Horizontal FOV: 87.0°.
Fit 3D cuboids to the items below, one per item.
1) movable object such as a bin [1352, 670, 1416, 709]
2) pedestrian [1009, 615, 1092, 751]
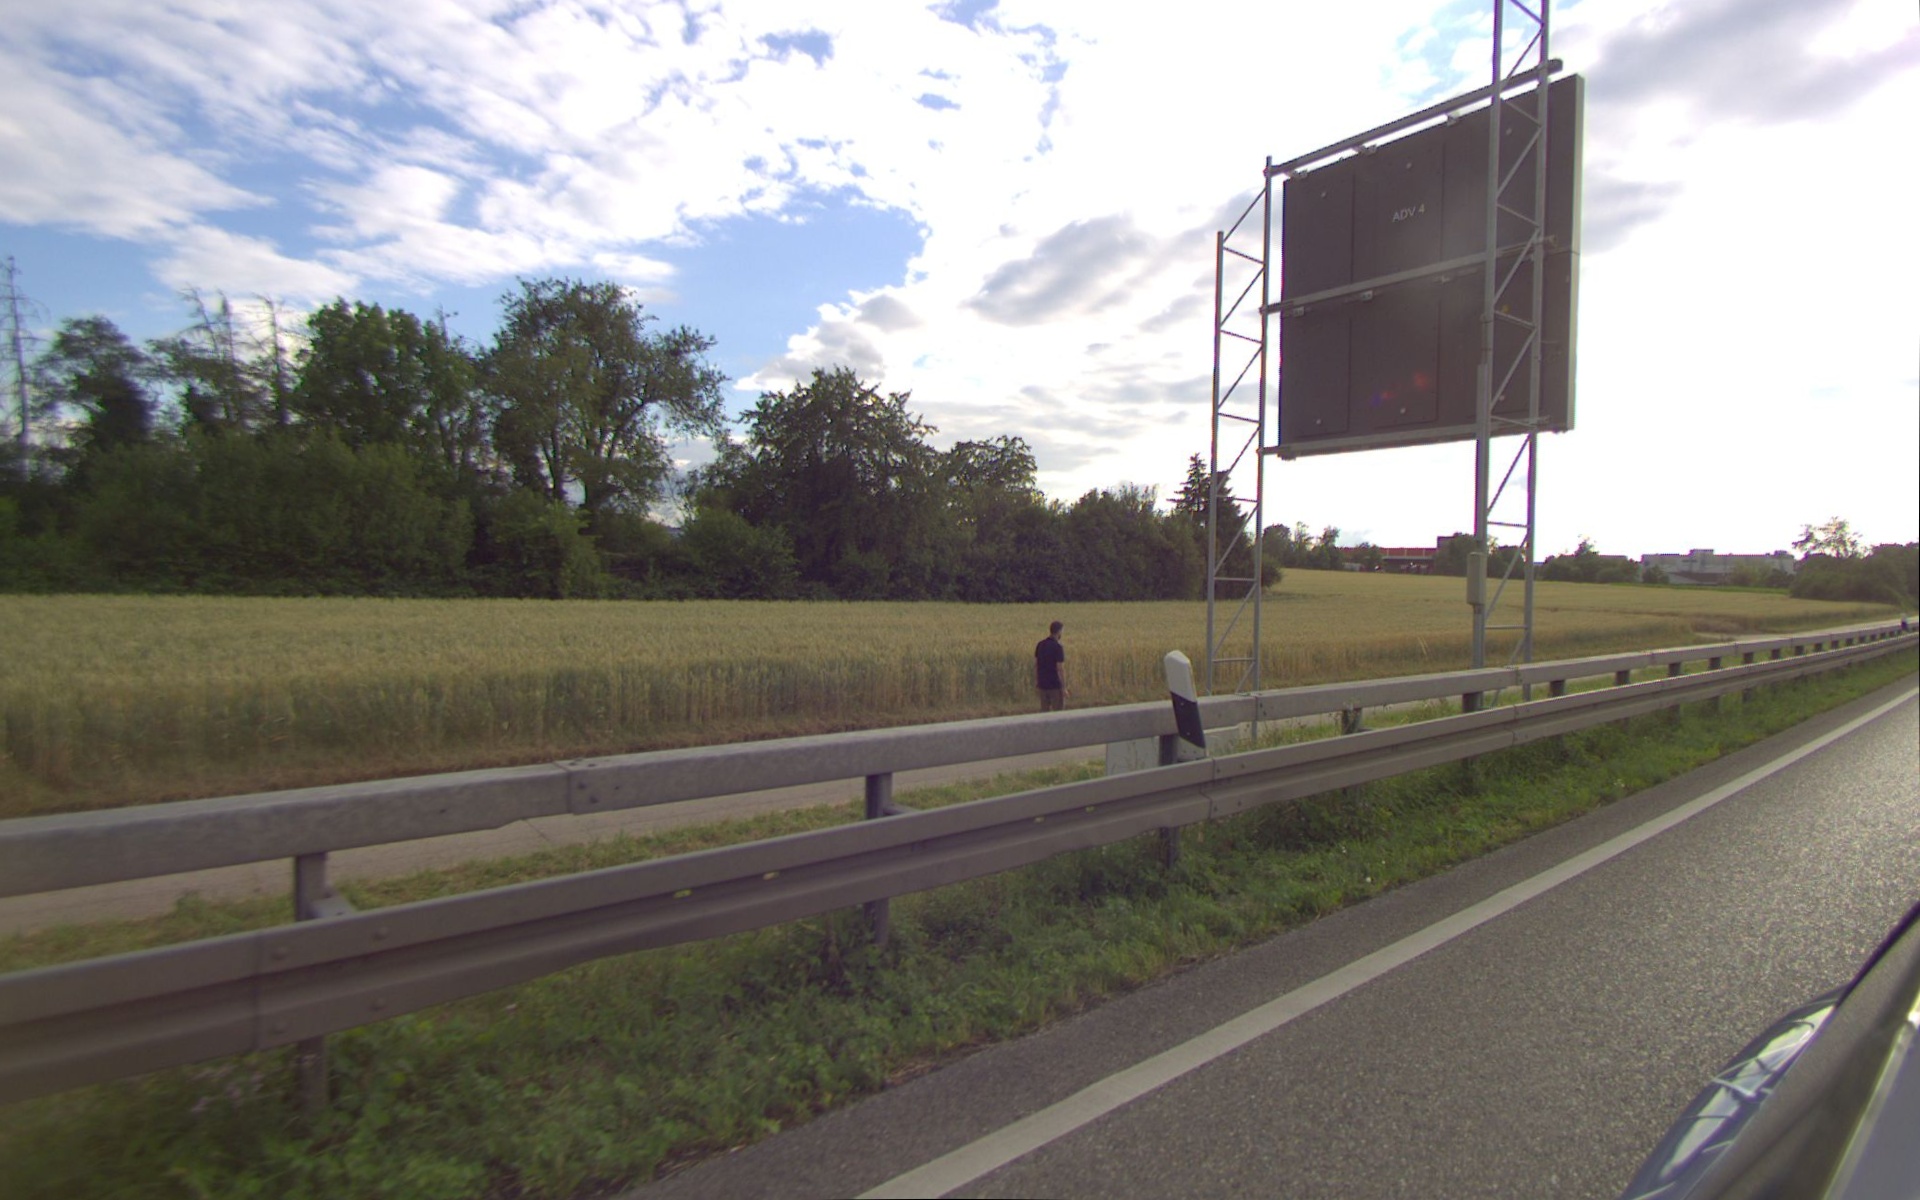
[{"bbox_3d":[8.559,1.793,20.414,1.214,0.654,0.733,-1,0,-42],"label":"movable object such as a bin"},{"bbox_3d":[1.328,1.173,14.784,0.924,1.891,0.772,0,-1,-42],"label":"pedestrian"}]
